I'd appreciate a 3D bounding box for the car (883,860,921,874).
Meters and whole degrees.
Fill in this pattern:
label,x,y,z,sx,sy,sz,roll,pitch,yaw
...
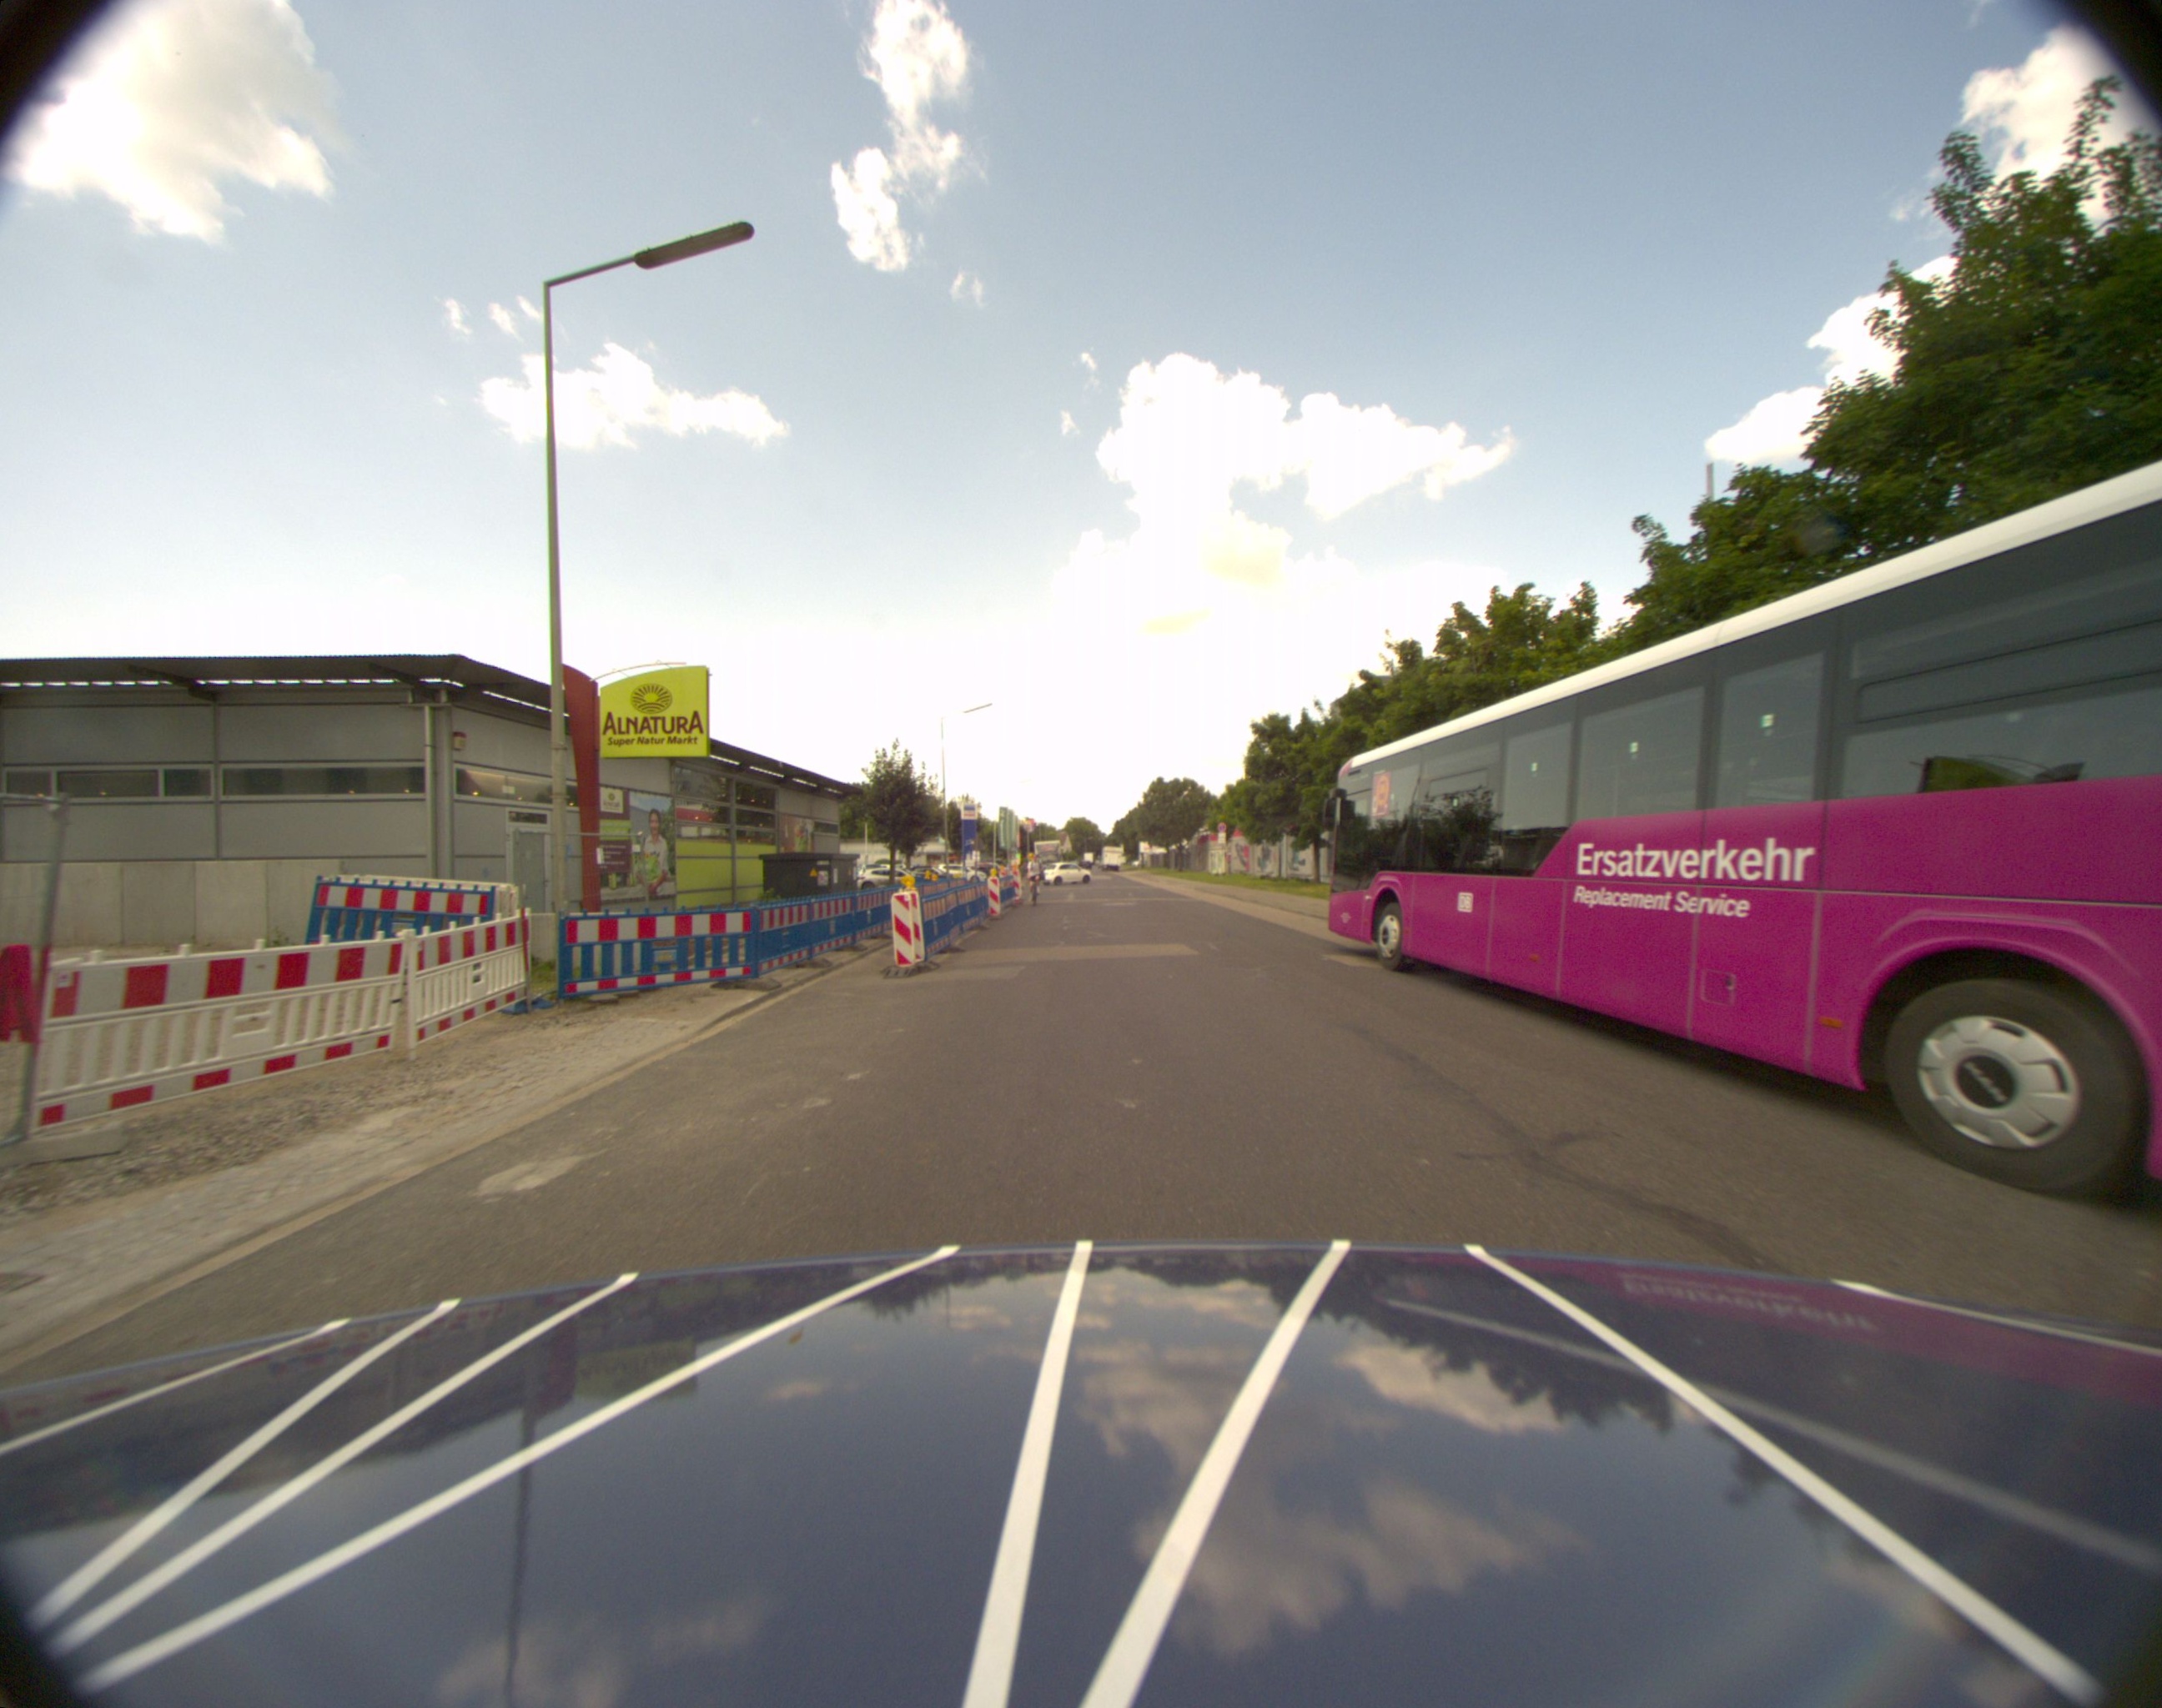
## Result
label,x,y,z,sx,sy,sz,roll,pitch,yaw
car,-20.362,1.466,86.495,3.946,1.475,1.724,0,0,-3

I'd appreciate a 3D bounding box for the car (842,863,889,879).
label,x,y,z,sx,sy,sz,roll,pitch,yaw
car,-20.283,1.565,71.739,3.993,1.475,1.740,0,0,-3

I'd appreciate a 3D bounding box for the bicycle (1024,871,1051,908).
label,x,y,z,sx,sy,sz,roll,pitch,yaw
bicycle,-1.534,1.252,27.380,0.800,1.173,2.626,-2,0,-1

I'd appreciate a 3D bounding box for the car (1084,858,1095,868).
label,x,y,z,sx,sy,sz,roll,pitch,yaw
car,1.494,1.662,138.198,1.879,1.610,4.293,3,0,0

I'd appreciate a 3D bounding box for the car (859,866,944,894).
label,x,y,z,sx,sy,sz,roll,pitch,yaw
car,-9.548,1.377,40.687,4.113,1.454,1.990,0,0,-1

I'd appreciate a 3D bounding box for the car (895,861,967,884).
label,x,y,z,sx,sy,sz,roll,pitch,yaw
car,-9.520,1.161,48.373,4.190,1.422,1.806,0,0,1

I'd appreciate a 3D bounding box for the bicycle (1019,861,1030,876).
label,x,y,z,sx,sy,sz,roll,pitch,yaw
bicycle,-5.093,1.332,68.841,0.794,1.287,1.882,3,0,2

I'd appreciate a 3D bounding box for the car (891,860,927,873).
label,x,y,z,sx,sy,sz,roll,pitch,yaw
car,-20.103,1.452,88.883,3.946,1.475,1.724,0,0,-3

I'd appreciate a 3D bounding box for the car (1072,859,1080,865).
label,x,y,z,sx,sy,sz,roll,pitch,yaw
car,-1.266,2.052,201.012,1.983,1.467,4.000,-1,0,-1

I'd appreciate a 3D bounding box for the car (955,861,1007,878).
label,x,y,z,sx,sy,sz,roll,pitch,yaw
car,-8.781,1.362,67.048,4.319,1.435,1.846,0,0,-2

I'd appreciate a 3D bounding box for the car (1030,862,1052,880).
label,x,y,z,sx,sy,sz,roll,pitch,yaw
car,-3.444,1.437,65.571,1.666,1.332,3.985,-4,0,-1

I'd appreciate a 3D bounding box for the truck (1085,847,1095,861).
label,x,y,z,sx,sy,sz,roll,pitch,yaw
truck,2.831,-0.037,238.739,2.979,4.131,9.666,-1,0,-1

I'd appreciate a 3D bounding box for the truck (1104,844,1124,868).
label,x,y,z,sx,sy,sz,roll,pitch,yaw
truck,5.114,0.297,118.837,2.755,3.701,7.170,1,0,-1

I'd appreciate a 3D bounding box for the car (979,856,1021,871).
label,x,y,z,sx,sy,sz,roll,pitch,yaw
car,-9.787,1.160,92.130,4.906,1.777,1.902,0,0,-1

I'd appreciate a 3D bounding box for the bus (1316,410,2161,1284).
label,x,y,z,sx,sy,sz,roll,pitch,yaw
bus,5.531,0.010,6.662,2.670,3.402,13.217,3,0,0

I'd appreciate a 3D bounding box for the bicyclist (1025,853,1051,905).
label,x,y,z,sx,sy,sz,roll,pitch,yaw
bicyclist,-1.547,0.875,27.364,0.808,1.782,1.207,-3,1,-1

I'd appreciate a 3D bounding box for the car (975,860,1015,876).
label,x,y,z,sx,sy,sz,roll,pitch,yaw
car,-8.449,1.366,74.601,3.895,1.513,1.748,0,0,-5

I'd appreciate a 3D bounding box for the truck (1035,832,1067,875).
label,x,y,z,sx,sy,sz,roll,pitch,yaw
truck,-3.067,0.006,79.384,2.785,4.092,8.278,-4,0,0

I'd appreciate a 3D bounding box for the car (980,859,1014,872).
label,x,y,z,sx,sy,sz,roll,pitch,yaw
car,-9.927,1.308,89.690,3.821,1.490,1.654,0,0,1

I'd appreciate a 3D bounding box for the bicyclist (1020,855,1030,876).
label,x,y,z,sx,sy,sz,roll,pitch,yaw
bicyclist,-5.071,1.032,68.848,0.796,1.899,0.829,3,1,2

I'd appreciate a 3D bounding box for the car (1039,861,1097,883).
label,x,y,z,sx,sy,sz,roll,pitch,yaw
car,-0.880,1.243,52.545,3.619,1.461,1.684,0,0,-33

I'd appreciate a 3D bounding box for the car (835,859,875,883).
label,x,y,z,sx,sy,sz,roll,pitch,yaw
car,-15.546,1.144,52.464,1.724,1.510,3.752,-1,0,-3

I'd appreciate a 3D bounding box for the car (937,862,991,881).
label,x,y,z,sx,sy,sz,roll,pitch,yaw
car,-9.074,1.322,59.176,3.963,1.402,1.796,1,0,-3

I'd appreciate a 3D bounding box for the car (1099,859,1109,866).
label,x,y,z,sx,sy,sz,roll,pitch,yaw
car,4.812,1.747,158.338,1.983,1.565,4.000,-1,0,-1

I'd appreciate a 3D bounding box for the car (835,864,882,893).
label,x,y,z,sx,sy,sz,roll,pitch,yaw
car,-13.038,1.380,44.323,1.689,1.403,4.377,-2,2,-28
